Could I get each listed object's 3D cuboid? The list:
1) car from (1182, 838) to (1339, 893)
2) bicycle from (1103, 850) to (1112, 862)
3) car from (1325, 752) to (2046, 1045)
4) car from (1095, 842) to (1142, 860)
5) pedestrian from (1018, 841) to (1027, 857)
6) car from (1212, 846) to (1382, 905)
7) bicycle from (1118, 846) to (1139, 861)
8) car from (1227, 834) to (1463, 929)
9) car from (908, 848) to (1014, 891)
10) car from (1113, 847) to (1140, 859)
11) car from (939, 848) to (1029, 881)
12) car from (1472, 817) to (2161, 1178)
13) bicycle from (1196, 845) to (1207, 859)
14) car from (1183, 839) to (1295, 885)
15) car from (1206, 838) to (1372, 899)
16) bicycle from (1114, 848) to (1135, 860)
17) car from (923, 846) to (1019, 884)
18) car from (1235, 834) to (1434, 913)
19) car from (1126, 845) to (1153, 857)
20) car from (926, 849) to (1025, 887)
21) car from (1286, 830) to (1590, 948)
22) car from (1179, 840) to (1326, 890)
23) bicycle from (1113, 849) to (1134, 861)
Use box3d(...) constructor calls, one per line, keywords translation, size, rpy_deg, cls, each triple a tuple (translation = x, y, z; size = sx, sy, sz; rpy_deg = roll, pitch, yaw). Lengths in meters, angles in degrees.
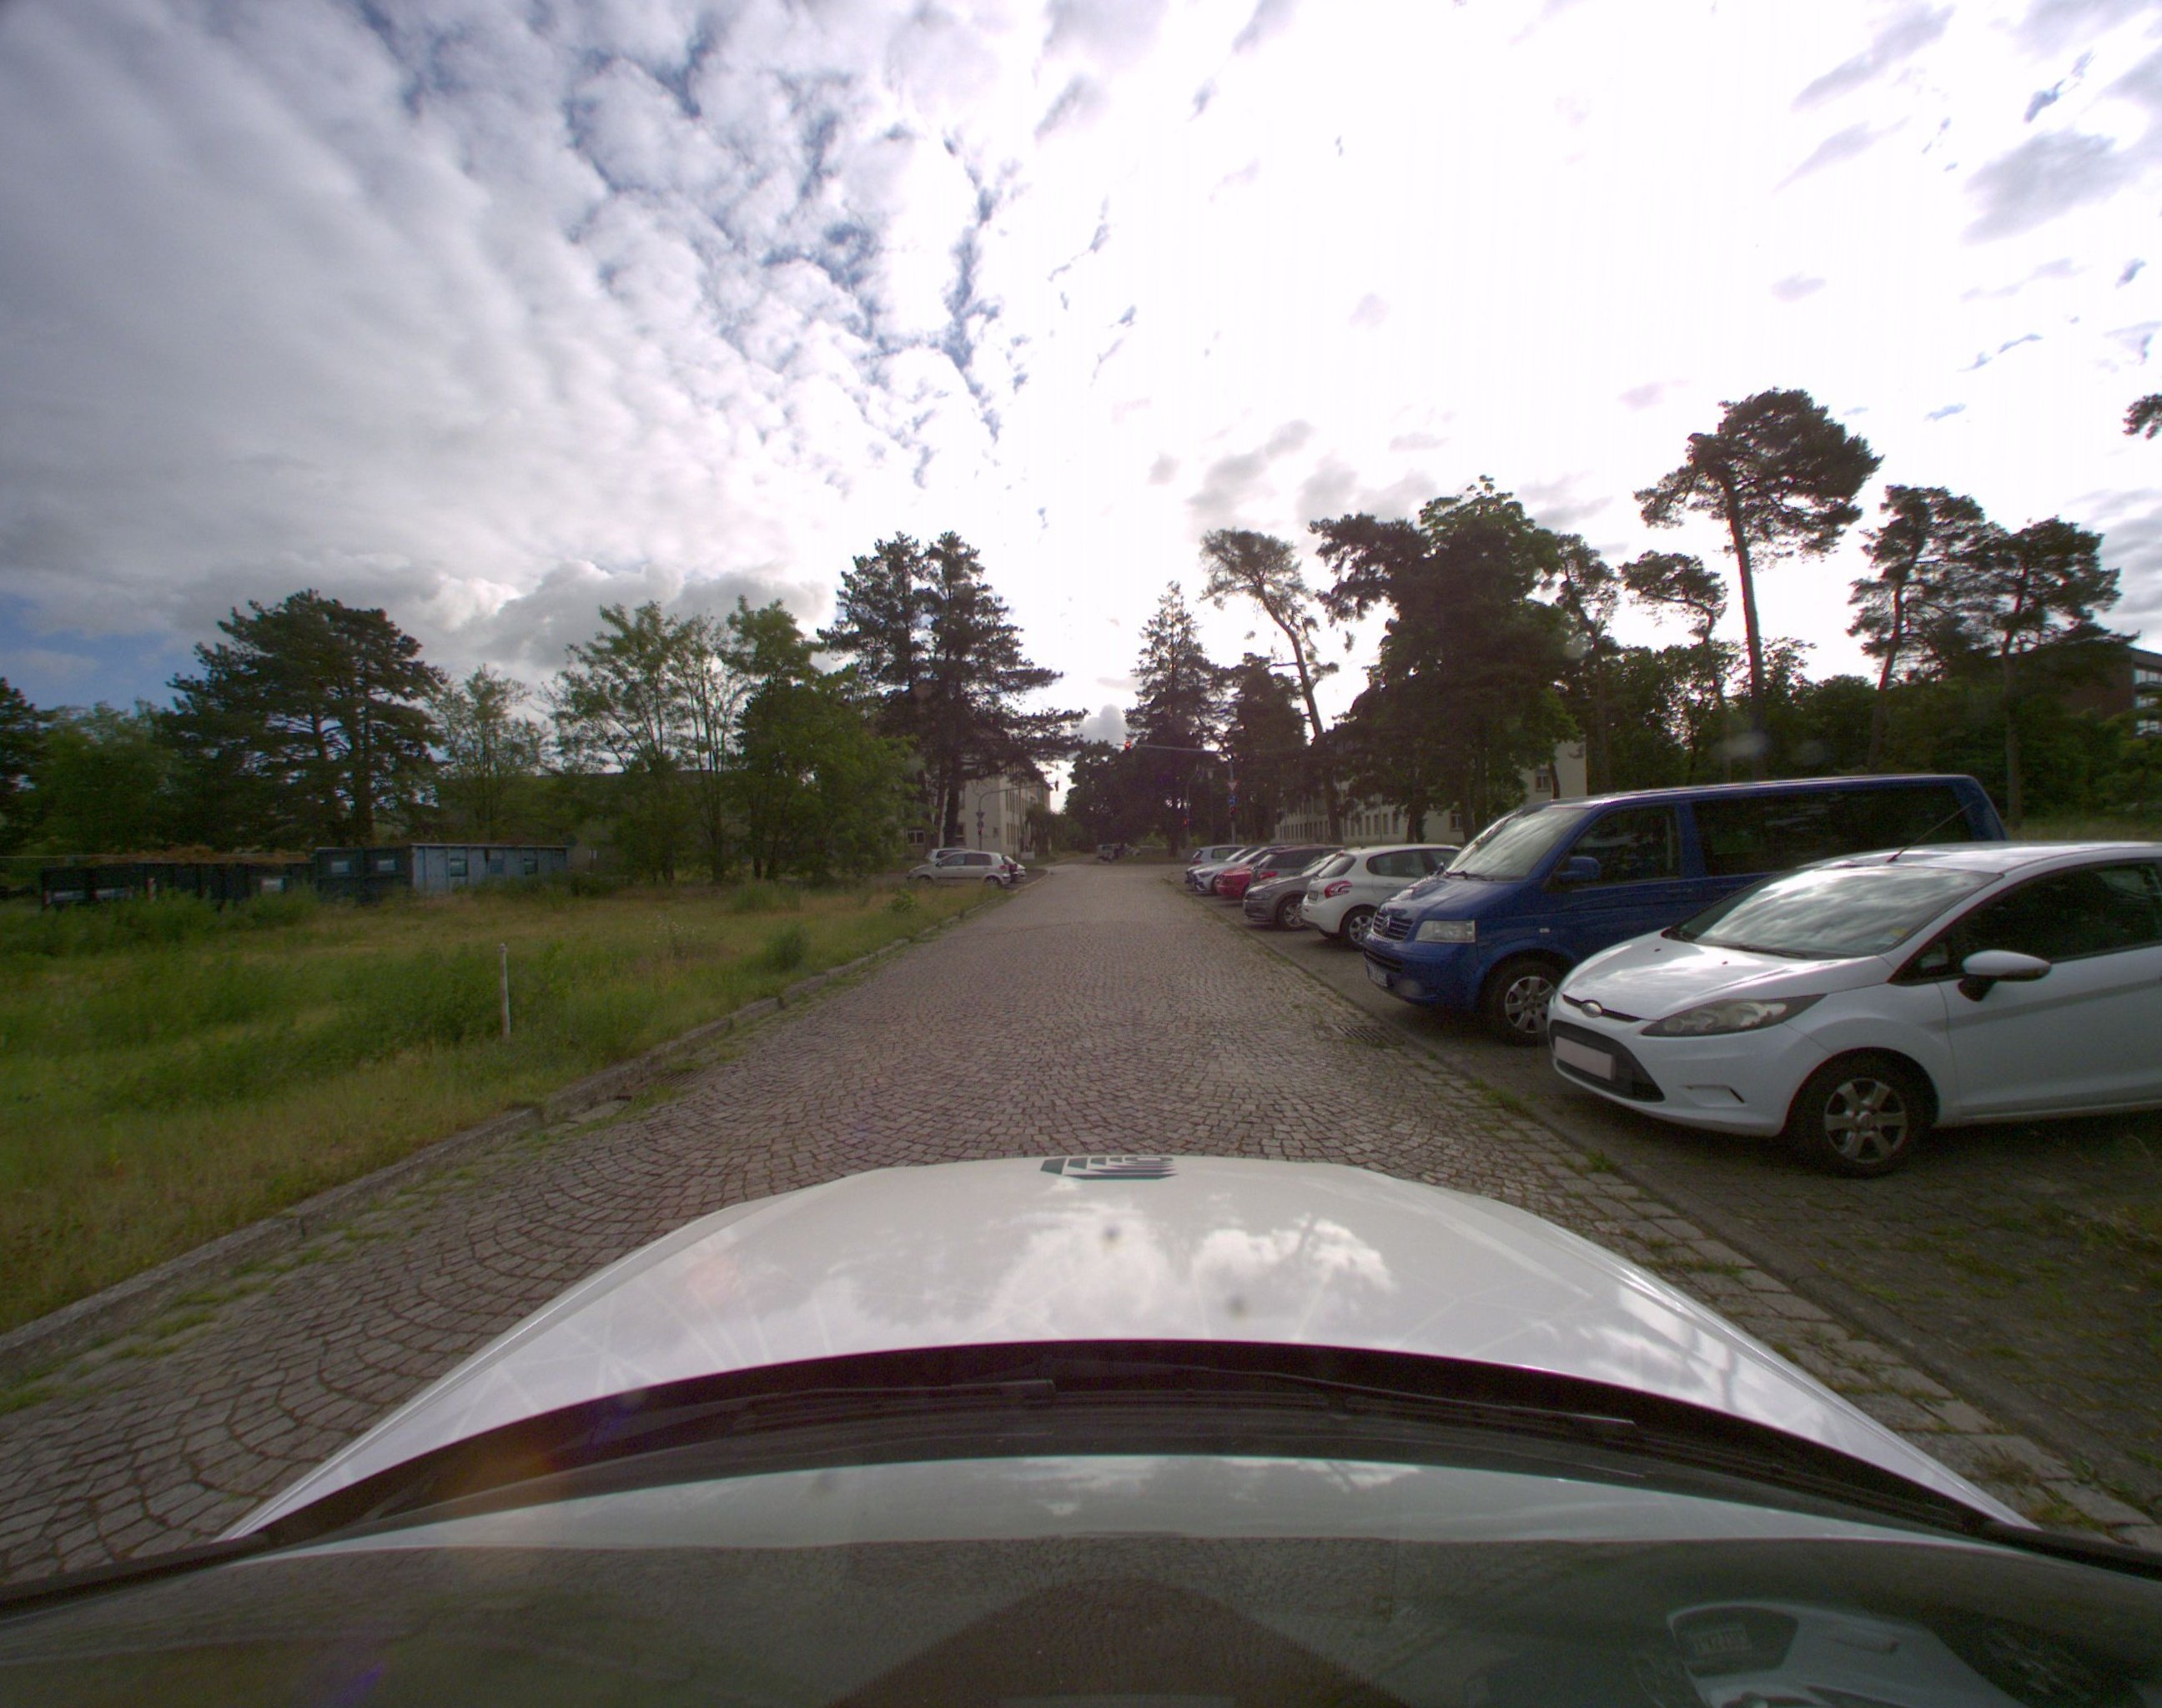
box3d(translation=(5.570, 0.333, 25.597), size=(4.418, 1.416, 1.866), rpy_deg=(-3, 0, -8), cls="car")
box3d(translation=(2.511, 0.199, 76.493), size=(0.602, 1.132, 1.959), rpy_deg=(-2, 0, -4), cls="bicycle")
box3d(translation=(4.876, 0.328, 7.163), size=(4.791, 1.945, 2.003), rpy_deg=(-3, 0, 0), cls="car")
box3d(translation=(4.468, -0.364, 97.742), size=(5.356, 1.925, 2.020), rpy_deg=(-3, 0, -8), cls="car")
box3d(translation=(-6.881, -0.571, 95.660), size=(0.778, 1.837, 0.734), rpy_deg=(-2, 0, -30), cls="pedestrian")
box3d(translation=(5.422, 0.518, 20.783), size=(3.849, 1.236, 1.758), rpy_deg=(-3, 0, 0), cls="car")
box3d(translation=(4.746, -0.047, 81.104), size=(1.952, 1.384, 0.587), rpy_deg=(-2, 0, -5), cls="bicycle")
box3d(translation=(4.861, 0.477, 15.384), size=(3.849, 1.472, 1.758), rpy_deg=(-3, 0, 0), cls="car")
box3d(translation=(-4.383, 0.550, 30.167), size=(3.692, 1.479, 1.582), rpy_deg=(1, 0, -2), cls="car")
box3d(translation=(5.243, -0.086, 94.358), size=(3.000, 1.268, 1.533), rpy_deg=(-2, 0, -4), cls="car")
box3d(translation=(-4.480, 0.468, 38.095), size=(3.933, 1.421, 1.650), rpy_deg=(1, 0, 1), cls="car")
box3d(translation=(4.616, 0.626, 4.634), size=(3.849, 1.472, 1.841), rpy_deg=(-3, 0, 0), cls="car")
box3d(translation=(9.968, -0.164, 67.395), size=(0.584, 1.106, 1.962), rpy_deg=(-1, 0, 2), cls="bicycle")
box3d(translation=(5.890, 0.295, 30.732), size=(3.910, 1.477, 1.644), rpy_deg=(-3, 0, 3), cls="car")
box3d(translation=(5.862, 0.393, 23.320), size=(4.246, 1.416, 1.872), rpy_deg=(-3, 0, 1), cls="car")
box3d(translation=(4.221, 0.034, 79.651), size=(1.952, 1.132, 0.587), rpy_deg=(-2, 0, -5), cls="bicycle")
box3d(translation=(-4.768, 0.453, 35.557), size=(3.936, 1.563, 1.649), rpy_deg=(1, 0, -2), cls="car")
box3d(translation=(5.560, 0.404, 18.212), size=(3.849, 1.472, 1.758), rpy_deg=(-3, 0, 0), cls="car")
box3d(translation=(7.328, -0.349, 101.558), size=(3.222, 1.416, 1.724), rpy_deg=(-2, 0, -1), cls="car")
box3d(translation=(-4.195, 0.538, 32.763), size=(3.735, 1.428, 1.582), rpy_deg=(1, 0, -2), cls="car")
box3d(translation=(5.317, 0.489, 12.507), size=(3.849, 1.472, 1.758), rpy_deg=(-3, 0, 0), cls="car")
box3d(translation=(5.882, 0.369, 28.279), size=(4.667, 1.416, 1.870), rpy_deg=(-3, 0, -1), cls="car")
box3d(translation=(4.180, 0.054, 80.286), size=(1.952, 1.117, 0.587), rpy_deg=(-2, 0, -5), cls="bicycle")
